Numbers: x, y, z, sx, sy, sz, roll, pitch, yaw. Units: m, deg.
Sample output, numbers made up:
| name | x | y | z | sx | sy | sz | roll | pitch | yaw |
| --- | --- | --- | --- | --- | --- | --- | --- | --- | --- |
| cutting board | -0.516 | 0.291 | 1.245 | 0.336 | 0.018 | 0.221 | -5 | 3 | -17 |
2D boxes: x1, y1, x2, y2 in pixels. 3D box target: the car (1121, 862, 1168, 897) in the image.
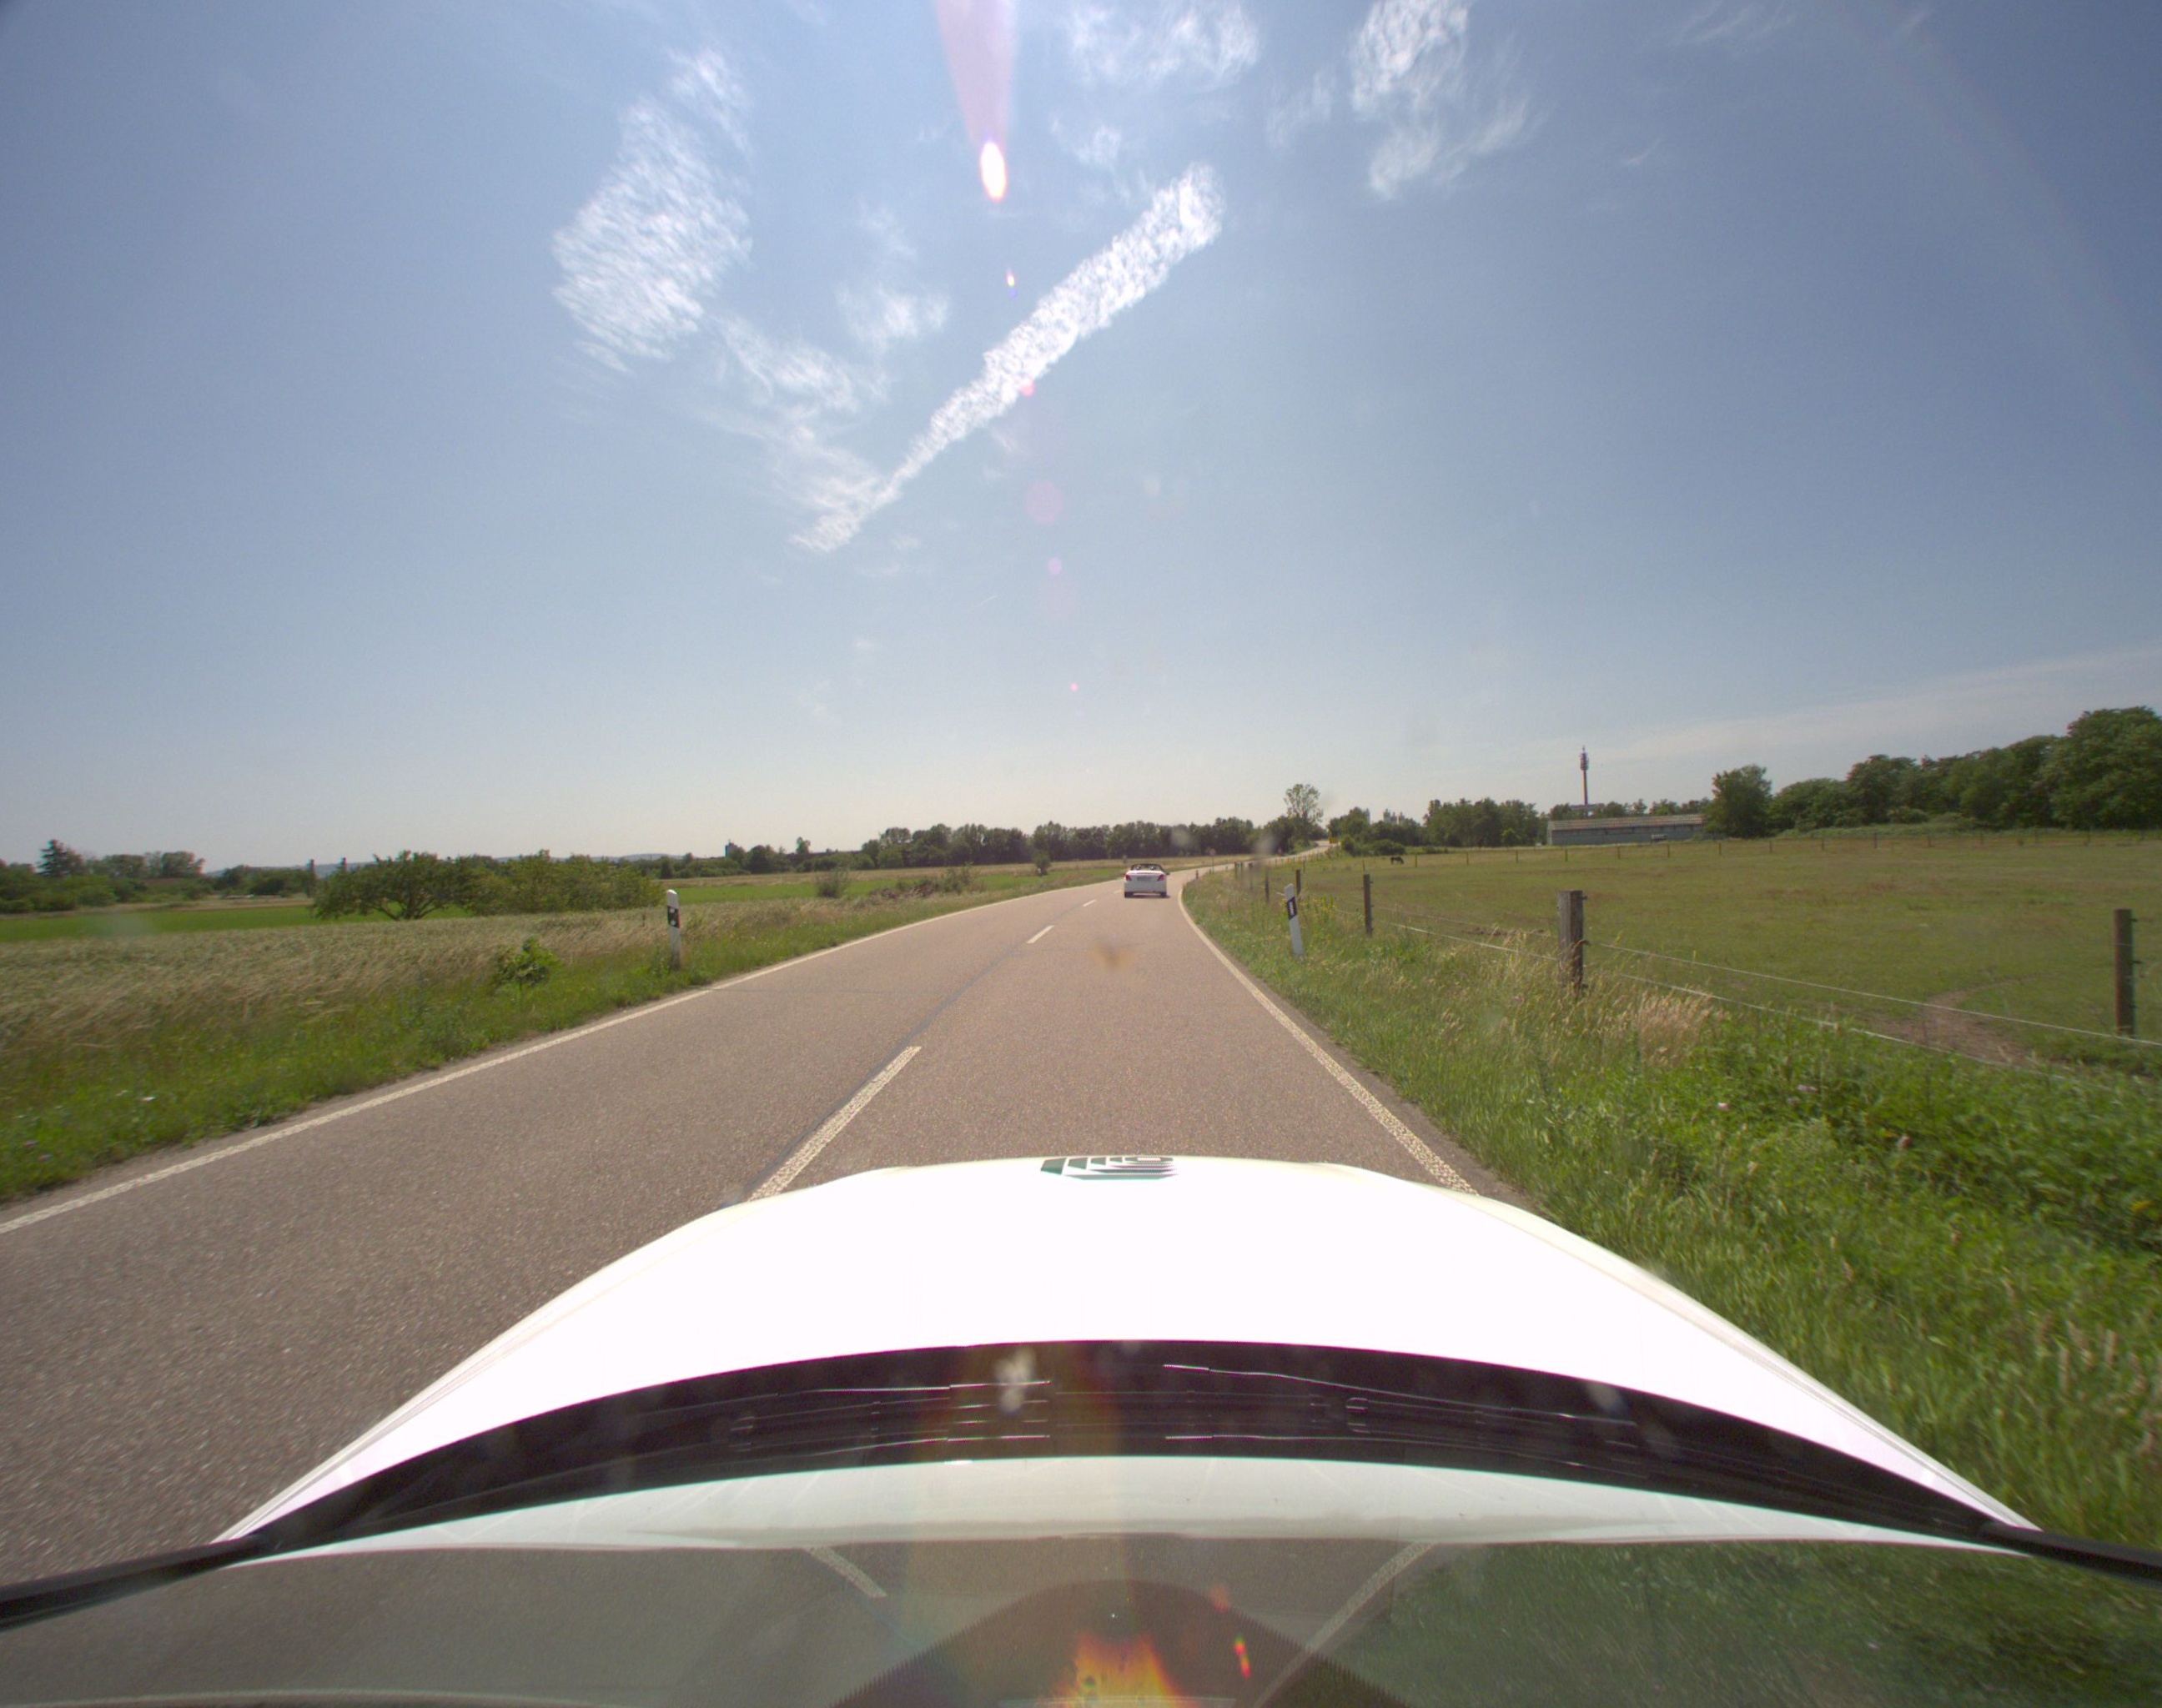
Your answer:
| name | x | y | z | sx | sy | sz | roll | pitch | yaw |
| --- | --- | --- | --- | --- | --- | --- | --- | --- | --- |
| car | 2.728 | 1.027 | 34.347 | 1.841 | 1.379 | 4.006 | 0 | -1 | 6 |
